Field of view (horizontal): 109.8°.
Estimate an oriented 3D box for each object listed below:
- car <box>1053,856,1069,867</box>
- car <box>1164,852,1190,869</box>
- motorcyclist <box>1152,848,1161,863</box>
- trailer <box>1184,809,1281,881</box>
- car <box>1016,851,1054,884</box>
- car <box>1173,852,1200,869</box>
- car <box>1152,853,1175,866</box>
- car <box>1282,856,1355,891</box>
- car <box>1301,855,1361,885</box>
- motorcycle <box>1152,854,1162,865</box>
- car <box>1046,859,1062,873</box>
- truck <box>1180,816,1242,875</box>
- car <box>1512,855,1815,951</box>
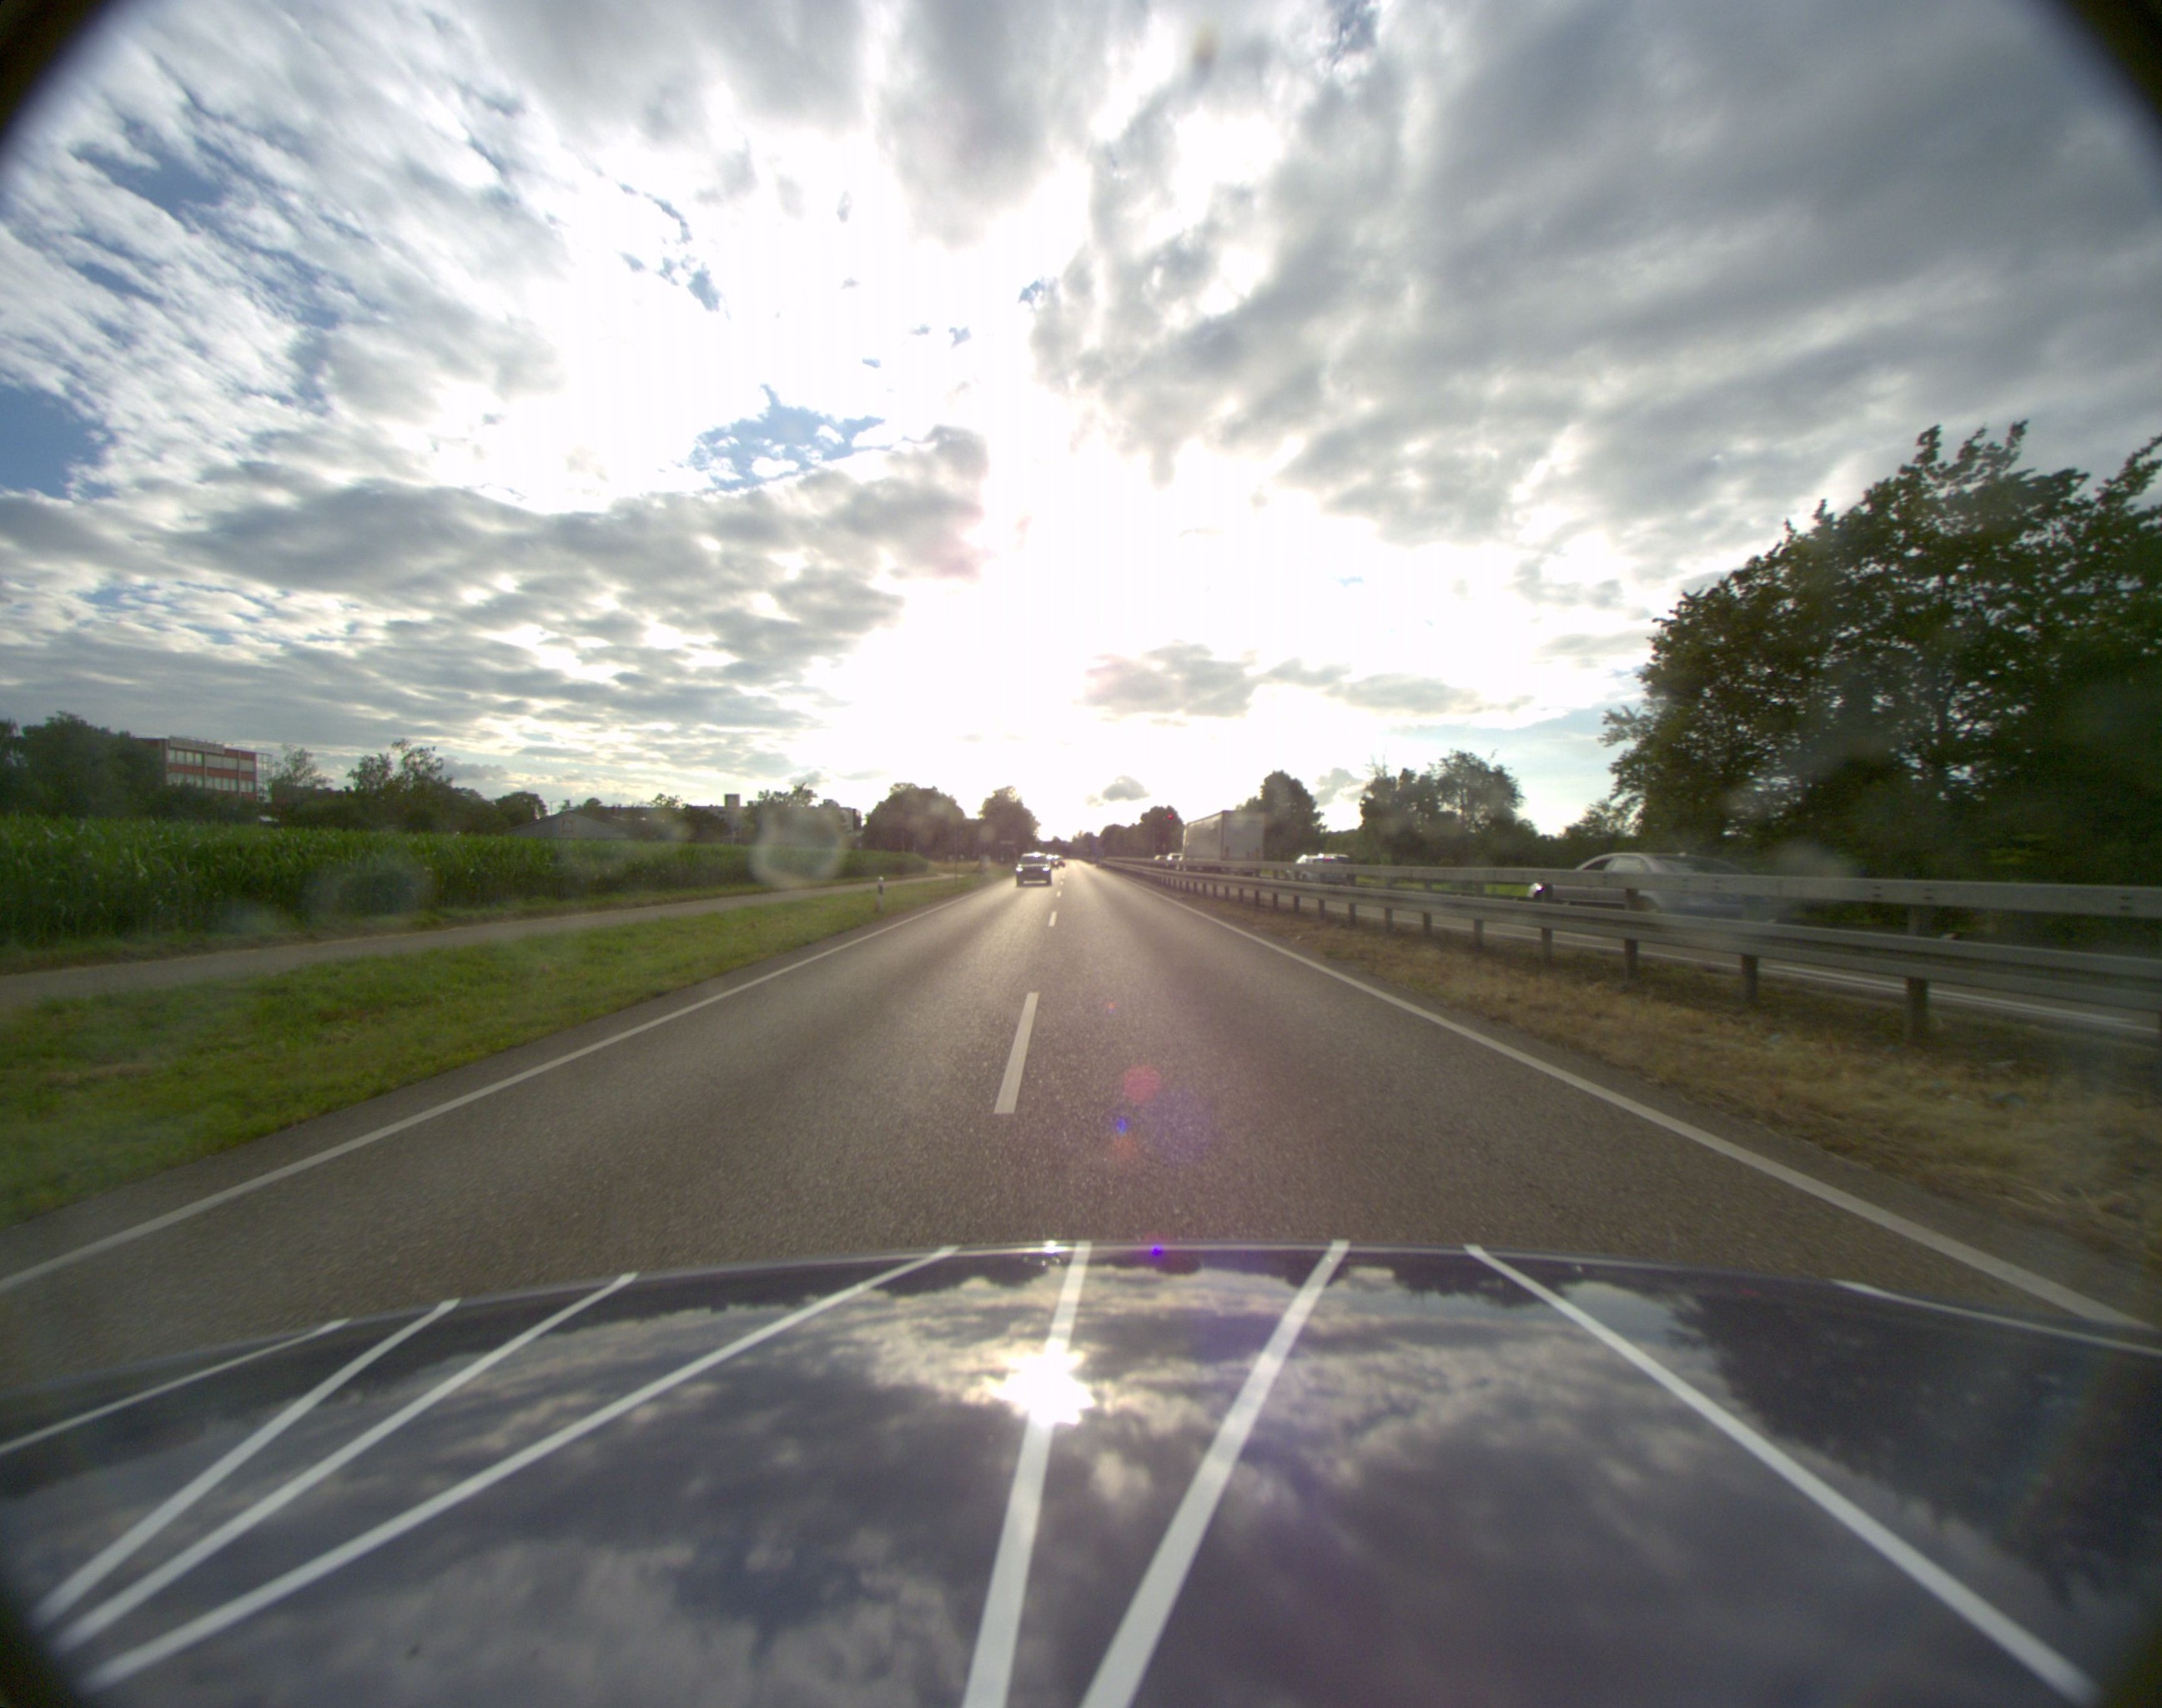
[{"bbox_3d":[-2.656,0.991,100.769,1.998,1.320,4.000,1,0,1],"label":"car"},{"bbox_3d":[9.498,0.594,75.278,1.912,1.600,4.404,0,0,-1],"label":"car"},{"bbox_3d":[8.988,0.190,90.248,0.919,1.699,1.275,1,1,0],"label":"motorcyclist"},{"bbox_3d":[9.778,-0.570,51.337,3.474,4.126,13.914,2,0,-1],"label":"trailer"},{"bbox_3d":[-2.477,0.711,41.890,1.849,1.640,4.480,-2,0,-2],"label":"car"},{"bbox_3d":[9.422,0.551,67.987,1.793,1.436,4.159,0,0,-1],"label":"car"},{"bbox_3d":[9.138,0.627,84.672,1.912,1.420,5.151,0,0,-1],"label":"car"},{"bbox_3d":[10.159,0.790,32.784,1.793,1.378,4.159,0,0,-1],"label":"car"},{"bbox_3d":[13.529,0.820,41.356,1.793,1.564,4.159,0,0,-1],"label":"car"},{"bbox_3d":[8.990,0.672,90.255,0.919,1.196,2.478,1,1,0],"label":"motorcycle"},{"bbox_3d":[-3.054,1.360,86.487,1.667,1.424,3.994,-2,0,1],"label":"car"},{"bbox_3d":[9.709,-0.609,57.405,3.483,4.126,6.048,2,0,-1],"label":"truck"},{"bbox_3d":[10.375,0.759,14.150,1.871,1.469,4.824,0,0,-1],"label":"car"}]
